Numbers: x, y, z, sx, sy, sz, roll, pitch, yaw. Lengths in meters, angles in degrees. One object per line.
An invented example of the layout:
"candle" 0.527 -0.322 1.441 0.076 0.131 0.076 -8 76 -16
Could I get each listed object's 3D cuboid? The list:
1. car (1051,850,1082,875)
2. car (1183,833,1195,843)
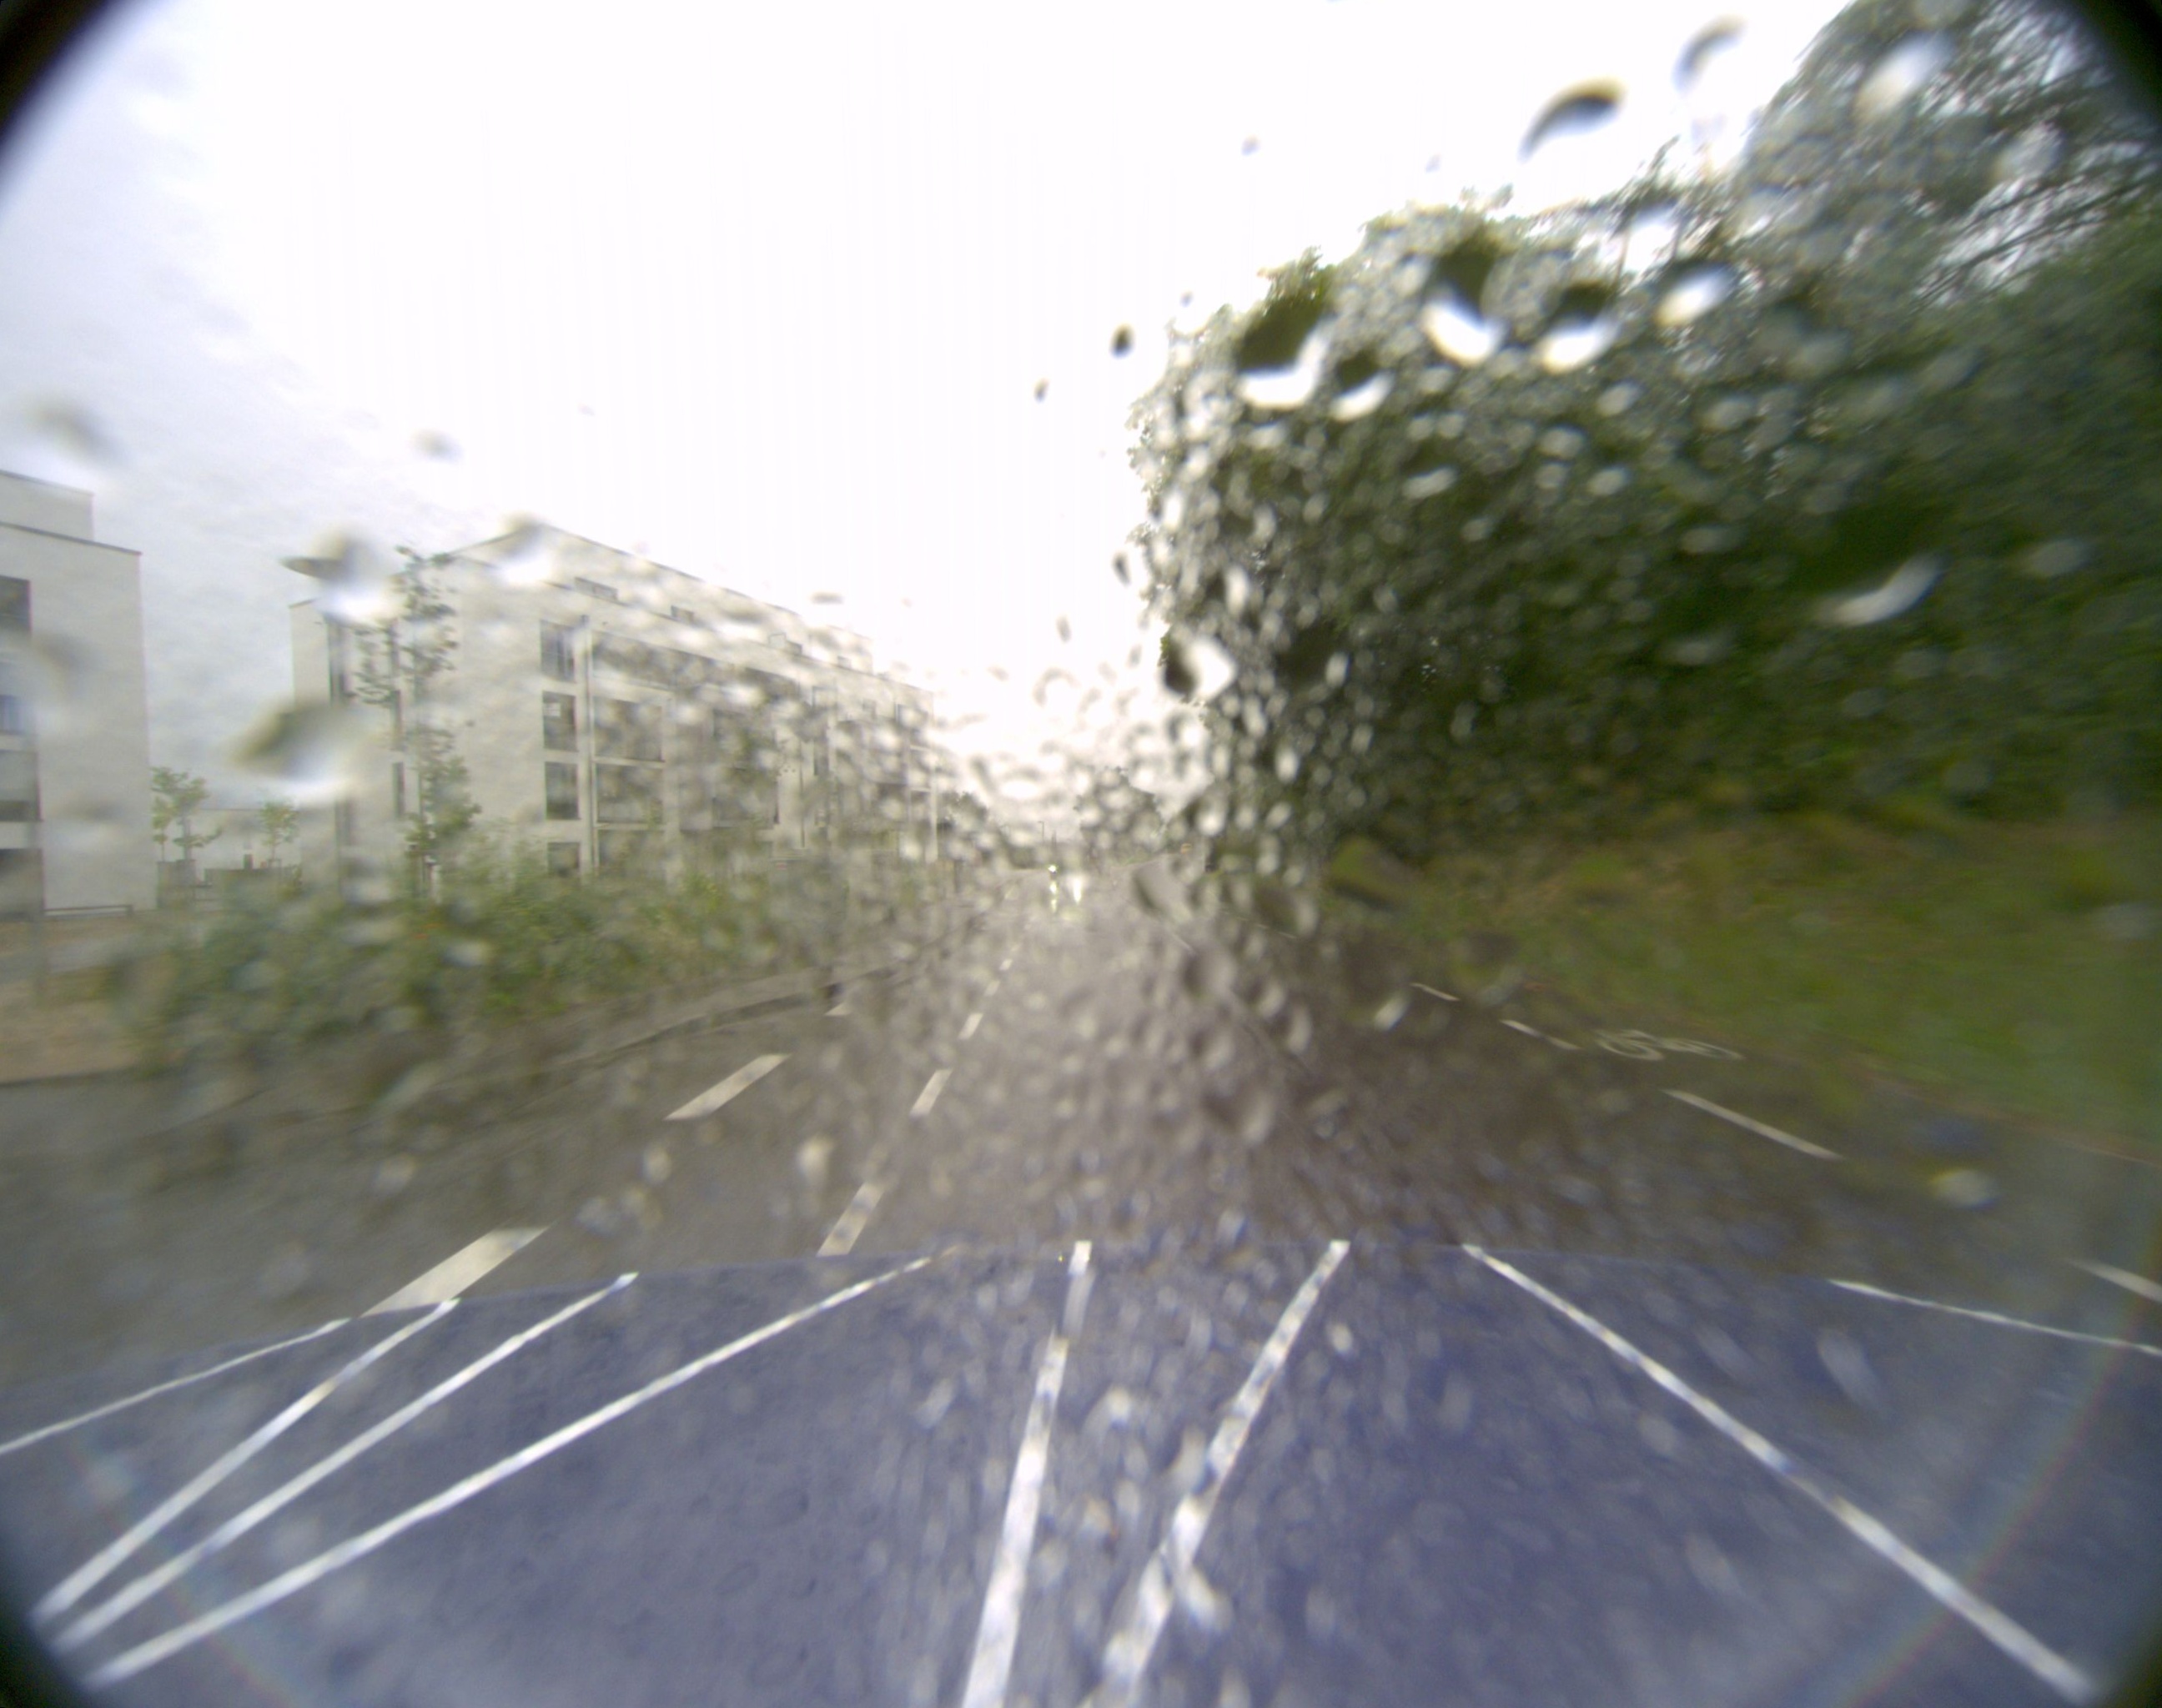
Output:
"car" -0.856 0.539 47.174 1.764 1.477 3.791 -1 -1 1
"car" 15.451 -2.277 108.733 1.575 1.402 3.476 0 1 12
